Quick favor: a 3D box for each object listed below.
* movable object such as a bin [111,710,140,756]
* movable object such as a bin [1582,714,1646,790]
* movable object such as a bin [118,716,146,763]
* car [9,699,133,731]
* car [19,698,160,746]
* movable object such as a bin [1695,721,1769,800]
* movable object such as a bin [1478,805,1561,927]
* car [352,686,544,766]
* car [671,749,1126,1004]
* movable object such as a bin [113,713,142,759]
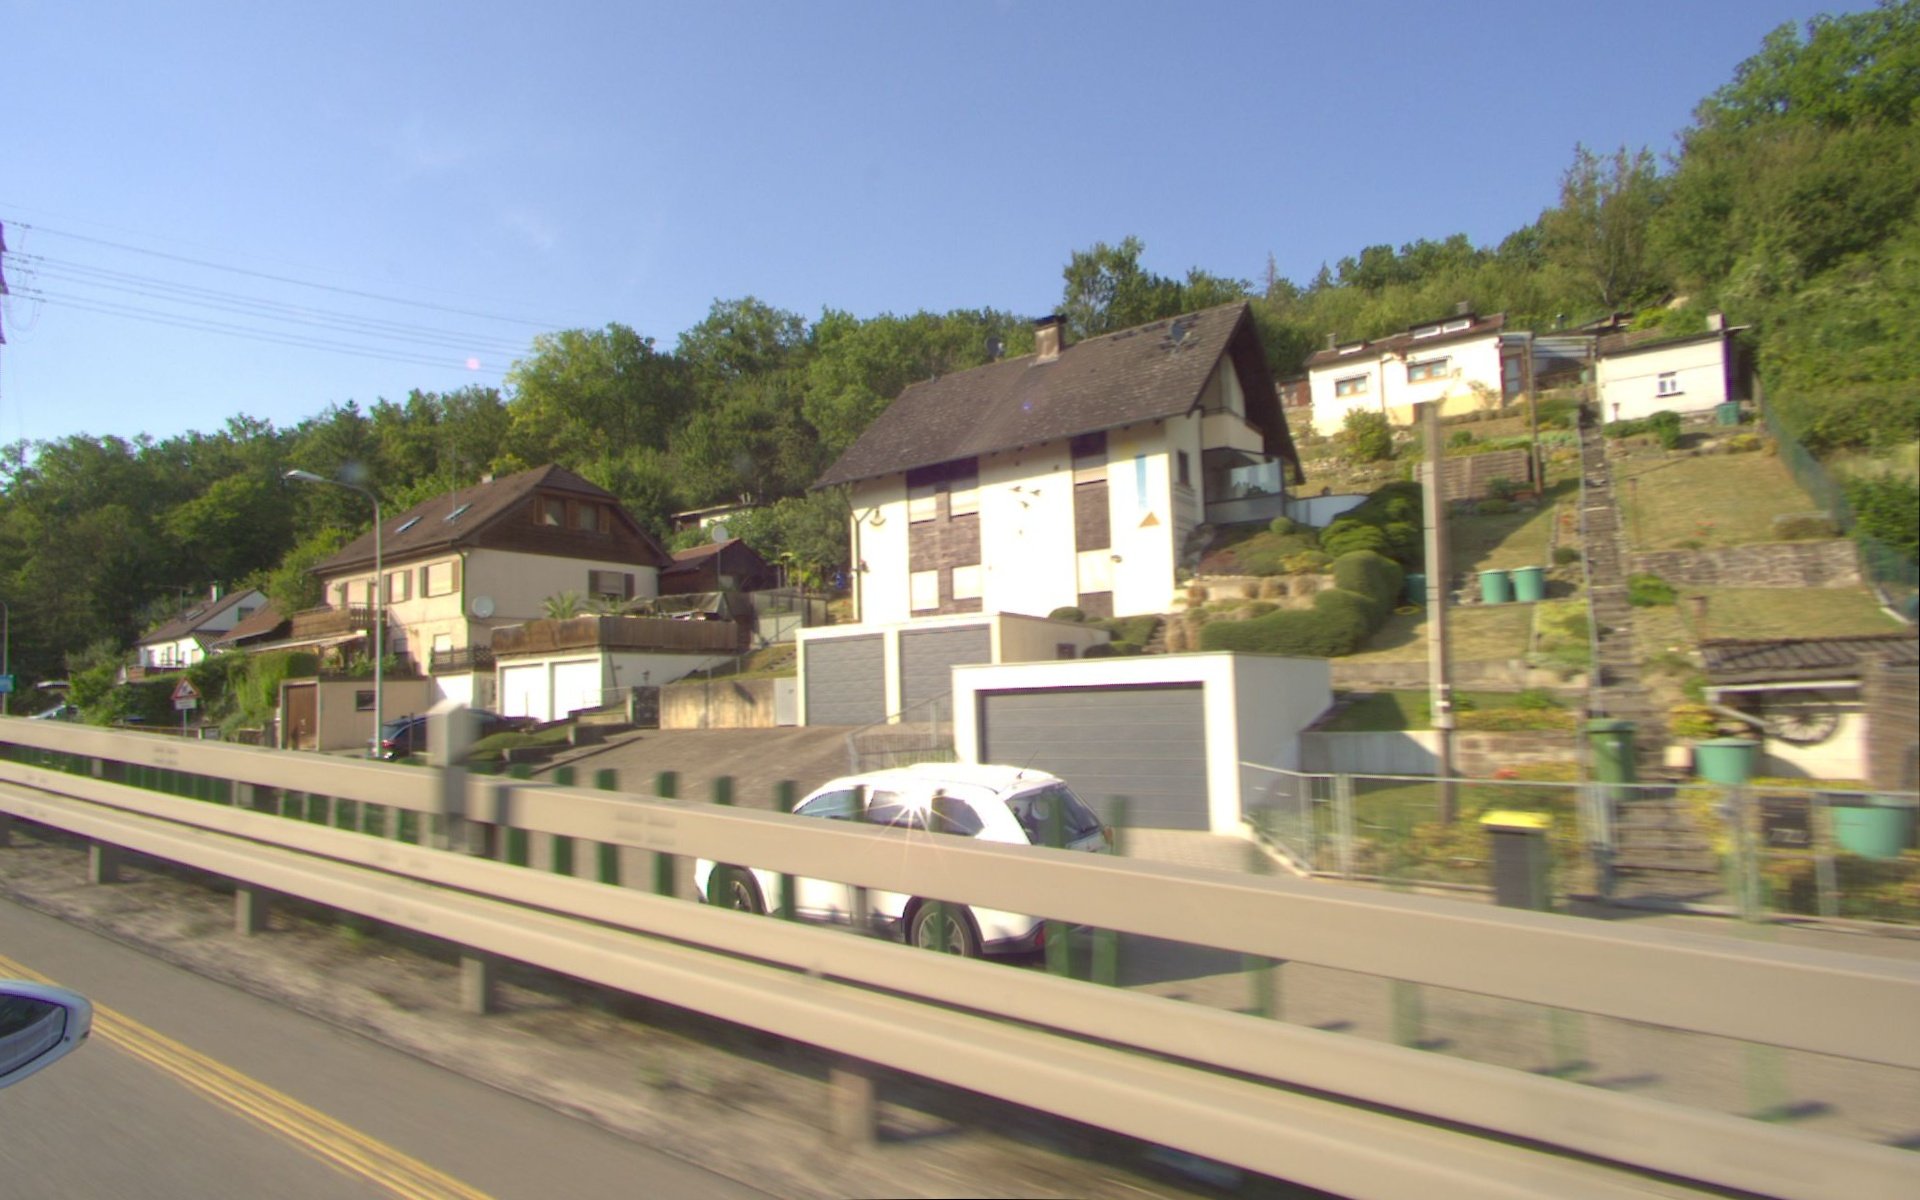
[{"bbox_3d":[-33.871,5.414,40.652,0.411,1.787,0.529,-3,-13,39],"label":"movable object such as a bin"},{"bbox_3d":[8.899,2.056,13.654,0.670,0.912,0.789,-1,-2,30],"label":"movable object such as a bin"},{"bbox_3d":[-32.908,5.550,39.793,0.409,1.787,0.489,-3,-13,39],"label":"movable object such as a bin"},{"bbox_3d":[-50.931,6.566,57.484,1.693,1.575,5.080,-3,-4,34],"label":"car"},{"bbox_3d":[-47.396,6.597,54.660,1.973,2.291,5.457,-3,-5,34],"label":"car"},{"bbox_3d":[10.057,2.073,13.069,0.670,0.912,0.685,-1,-2,30],"label":"movable object such as a bin"},{"bbox_3d":[5.521,2.593,9.878,0.668,1.013,0.721,-1,-4,32],"label":"movable object such as a bin"},{"bbox_3d":[-14.724,3.571,29.038,1.975,1.546,4.476,-4,1,35],"label":"car"},{"bbox_3d":[-0.749,2.471,9.870,4.414,1.682,1.663,-3,-3,36],"label":"car"},{"bbox_3d":[-33.556,5.475,40.366,0.404,1.787,0.535,-3,-13,39],"label":"movable object such as a bin"}]
